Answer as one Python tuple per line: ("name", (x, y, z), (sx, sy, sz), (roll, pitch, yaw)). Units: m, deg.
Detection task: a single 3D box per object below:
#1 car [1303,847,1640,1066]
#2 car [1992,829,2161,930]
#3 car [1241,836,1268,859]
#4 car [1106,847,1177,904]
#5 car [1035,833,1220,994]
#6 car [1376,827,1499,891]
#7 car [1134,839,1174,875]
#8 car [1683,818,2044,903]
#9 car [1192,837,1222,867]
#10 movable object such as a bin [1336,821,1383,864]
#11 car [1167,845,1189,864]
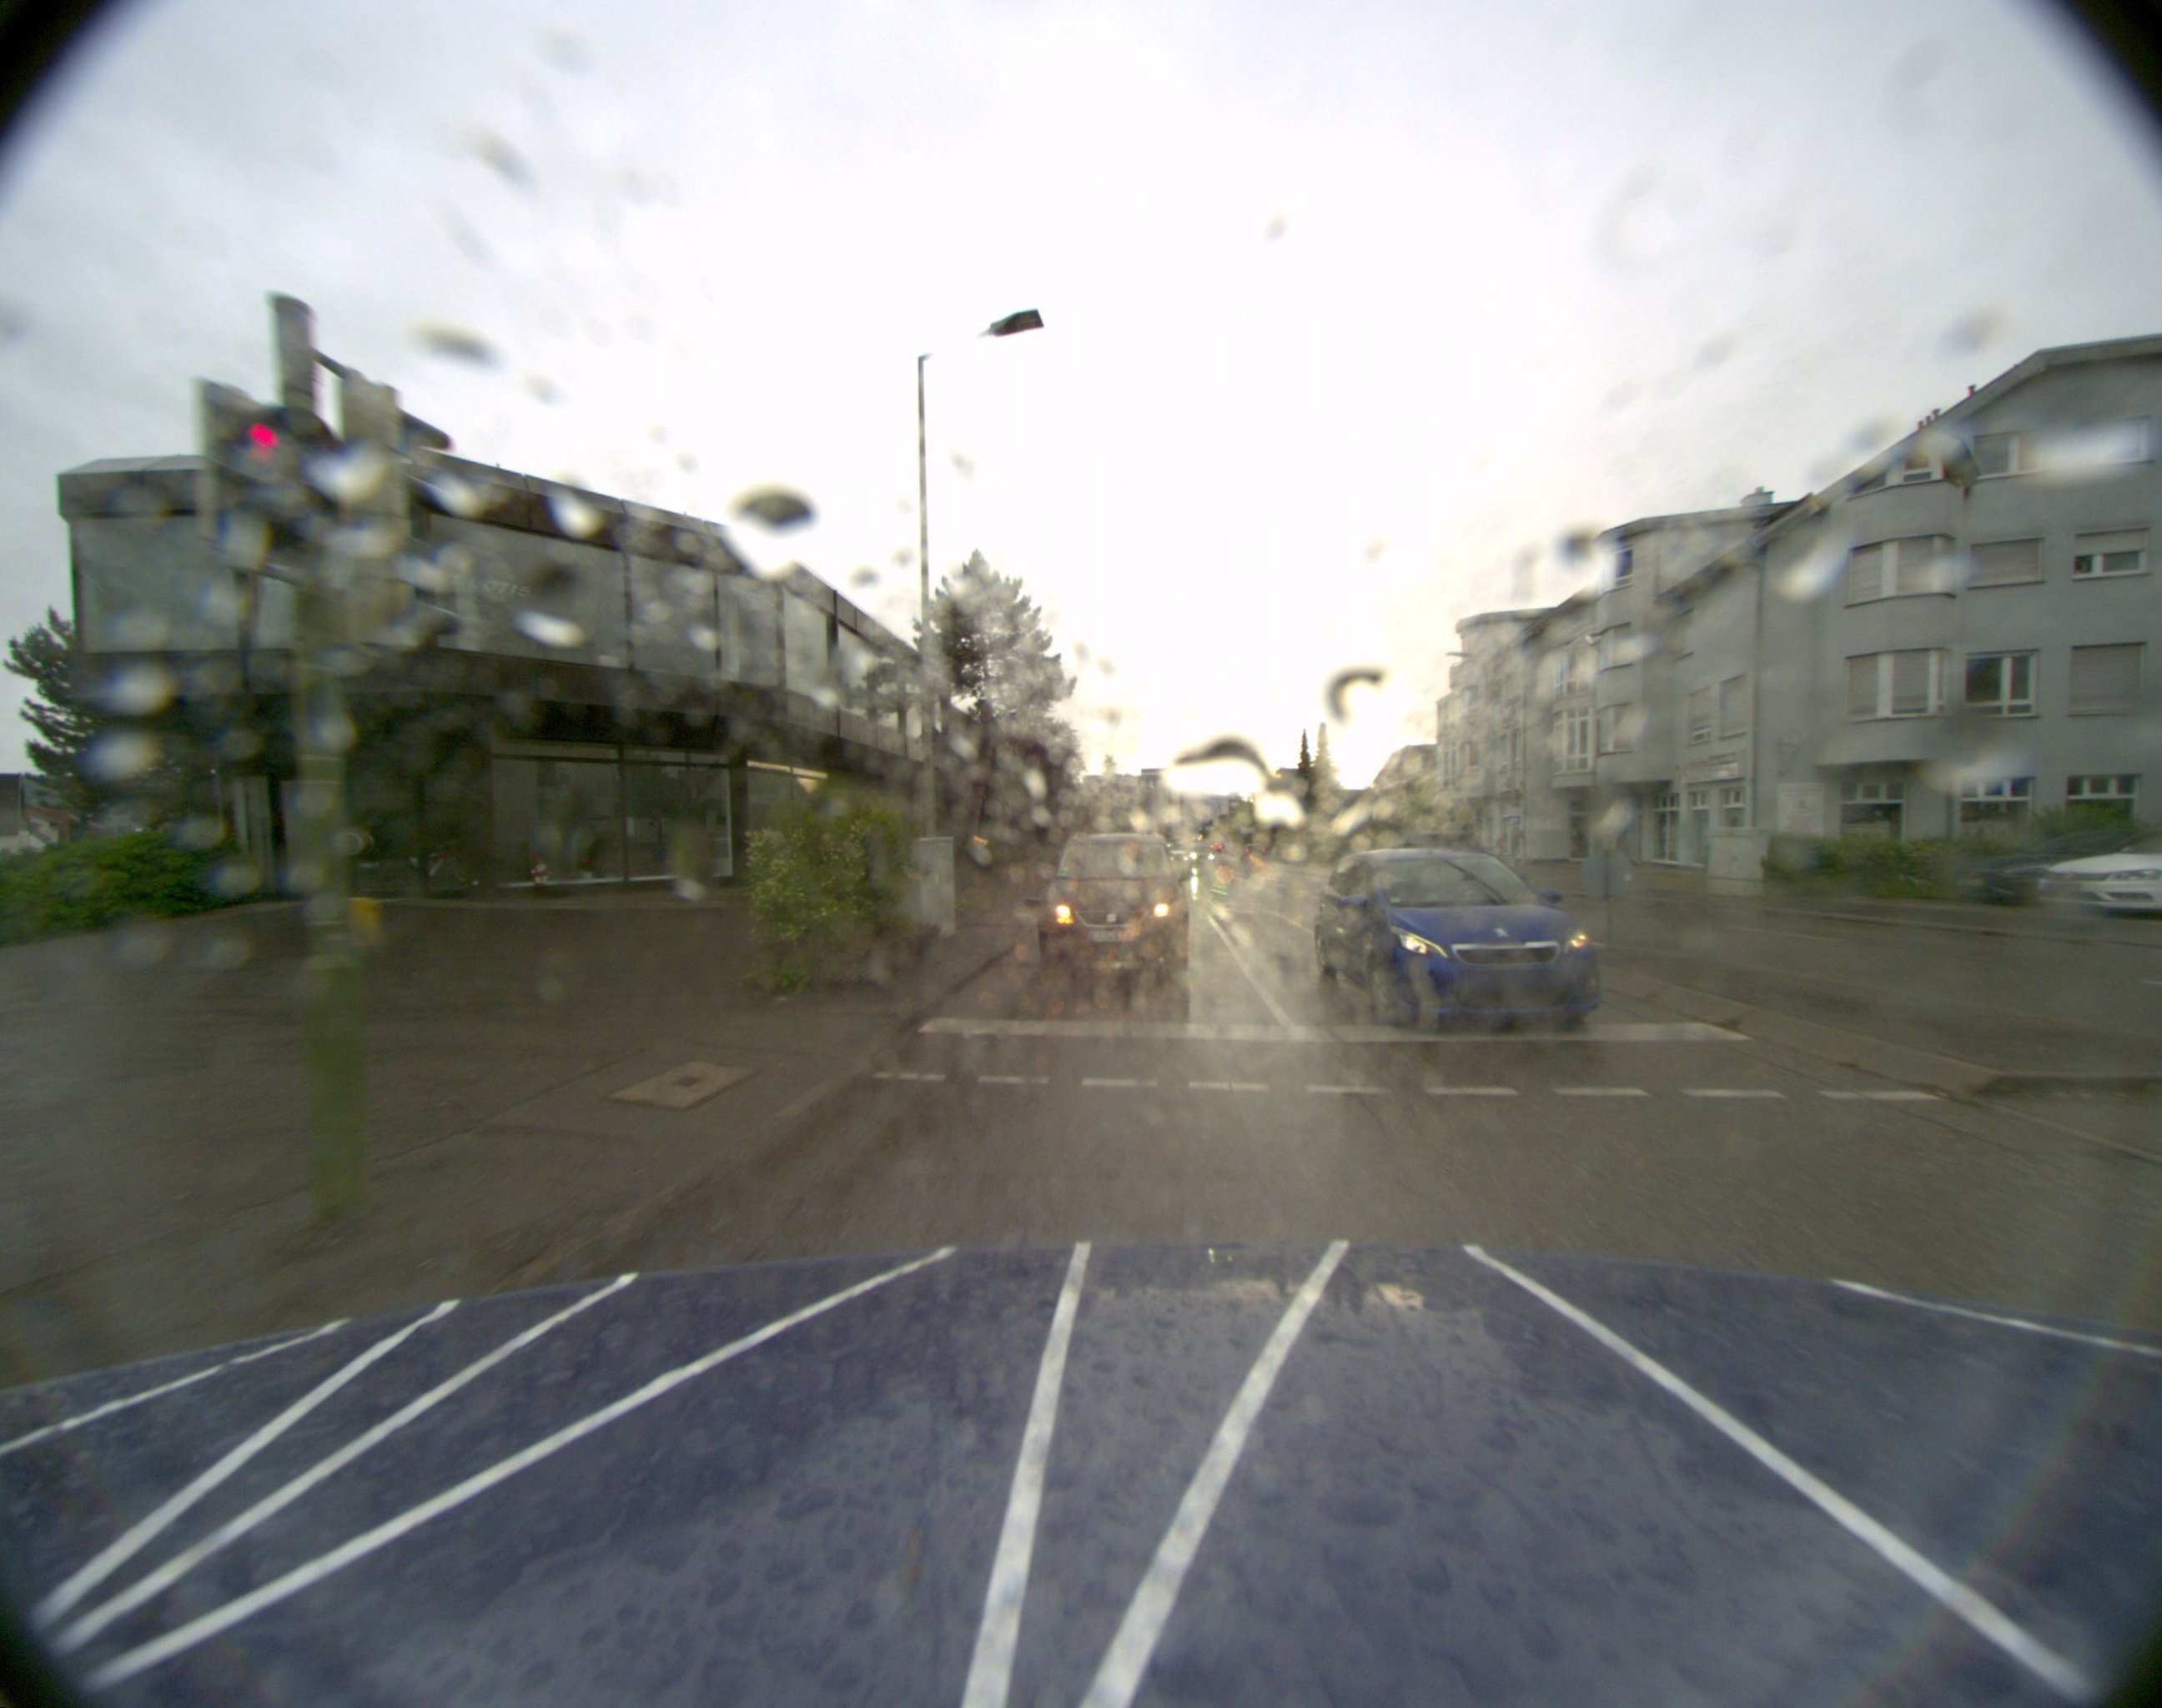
("car", (3.311, 0.742, 7.186), (1.651, 1.547, 3.352), (-2, 1, 5))
("car", (17.963, 0.338, 11.825), (4.618, 1.488, 1.931), (-1, 1, 13))
("car", (15.839, -0.595, 69.489), (1.997, 2.002, 4.002), (-1, 1, 8))
("car", (1.747, 0.549, 22.530), (1.829, 1.431, 4.345), (-2, 1, 3))
("car", (0.676, 0.618, 10.645), (1.998, 1.739, 4.649), (-1, 1, 4))
("car", (11.354, 0.110, 24.610), (2.101, 1.822, 4.734), (-2, 1, 5))
("car", (3.940, 0.108, 40.463), (1.997, 1.849, 4.001), (0, 1, 7))
("car", (17.397, 0.150, 17.244), (5.471, 1.674, 2.149), (-1, 1, 11))
("car", (8.927, -0.155, 53.996), (1.997, 2.002, 4.002), (-1, 1, 9))
("movable object such as a bin", (19.087, -0.805, 52.054), (2.921, 2.825, 2.200), (-1, 1, 21))
("car", (9.625, 0.022, 75.479), (1.998, 1.849, 4.000), (0, 1, 4))
